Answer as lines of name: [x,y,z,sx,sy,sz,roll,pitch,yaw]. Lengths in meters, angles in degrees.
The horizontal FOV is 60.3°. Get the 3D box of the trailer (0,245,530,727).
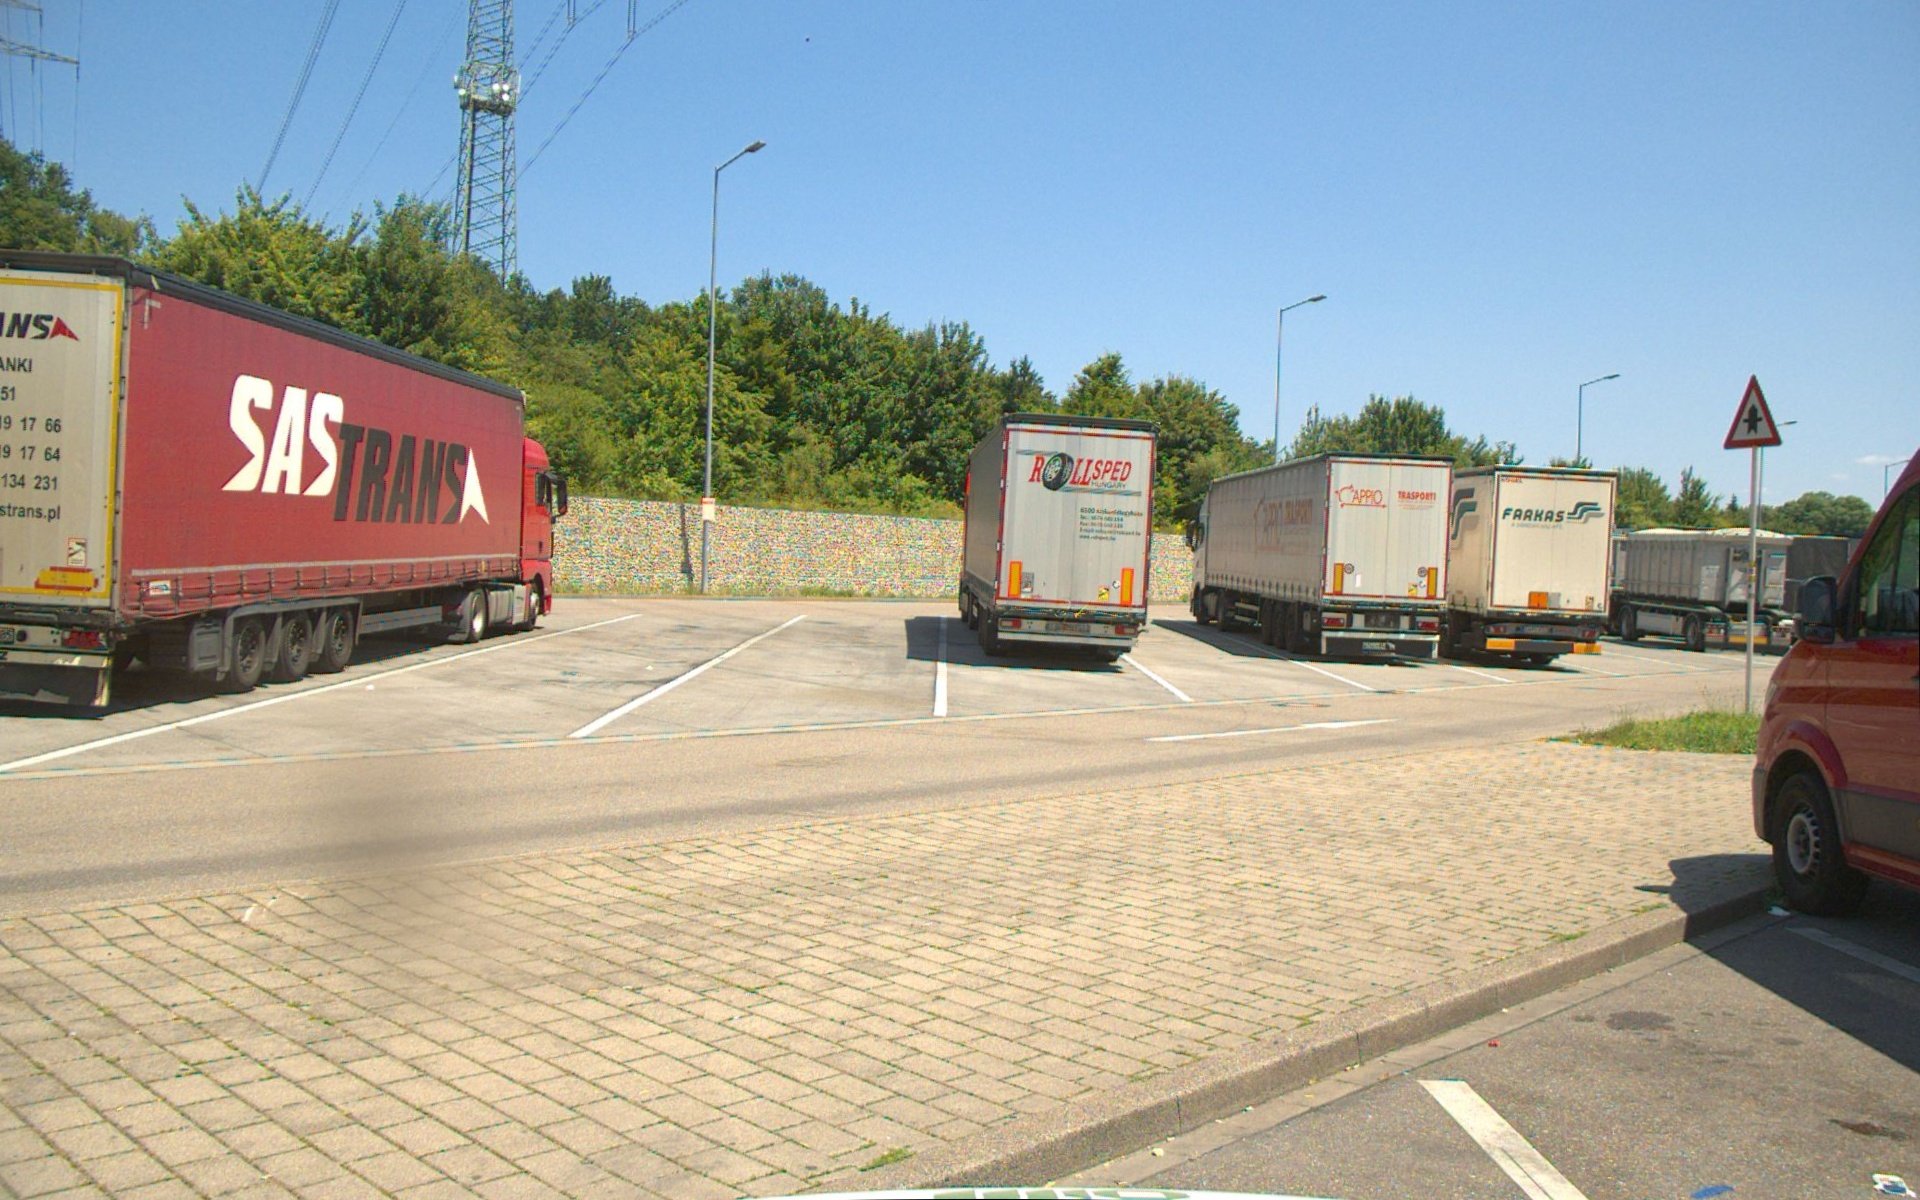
trailer: [-8.685,-1.269,21.271,2.764,4.141,13.763,2,2,-1]

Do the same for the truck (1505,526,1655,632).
truck: [21.737,-0.807,58.365,2.808,3.421,5.974,2,2,-1]

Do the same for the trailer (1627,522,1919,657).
trailer: [25.718,-0.528,52.936,2.800,3.662,13.762,2,2,-1]

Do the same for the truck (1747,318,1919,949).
truck: [5.002,0.154,5.539,1.969,2.697,6.457,1,0,3]

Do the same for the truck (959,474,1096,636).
truck: [1.477,-1.095,39.367,2.808,3.421,5.974,2,2,-1]

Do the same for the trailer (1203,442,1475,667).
trailer: [8.252,-1.108,38.524,2.800,4.180,13.762,2,2,-1]

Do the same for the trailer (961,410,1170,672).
trailer: [1.679,-1.179,33.170,2.800,4.040,13.761,2,2,-2]

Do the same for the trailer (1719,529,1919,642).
trailer: [34.787,-0.726,65.471,2.800,3.972,13.762,2,2,-1]

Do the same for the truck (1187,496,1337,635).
truck: [8.129,-0.991,45.286,2.808,3.421,5.974,2,2,-1]

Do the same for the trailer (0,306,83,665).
trailer: [-12.481,-1.256,15.813,2.651,4.173,10.389,2,2,-1]

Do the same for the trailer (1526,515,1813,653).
trailer: [21.837,-0.692,52.270,2.800,3.662,13.762,2,2,-1]

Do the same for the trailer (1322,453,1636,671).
trailer: [11.772,-0.998,39.589,2.800,4.180,13.762,2,2,-1]

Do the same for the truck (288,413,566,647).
truck: [-8.795,-1.161,28.086,2.755,3.421,5.974,2,2,-1]
